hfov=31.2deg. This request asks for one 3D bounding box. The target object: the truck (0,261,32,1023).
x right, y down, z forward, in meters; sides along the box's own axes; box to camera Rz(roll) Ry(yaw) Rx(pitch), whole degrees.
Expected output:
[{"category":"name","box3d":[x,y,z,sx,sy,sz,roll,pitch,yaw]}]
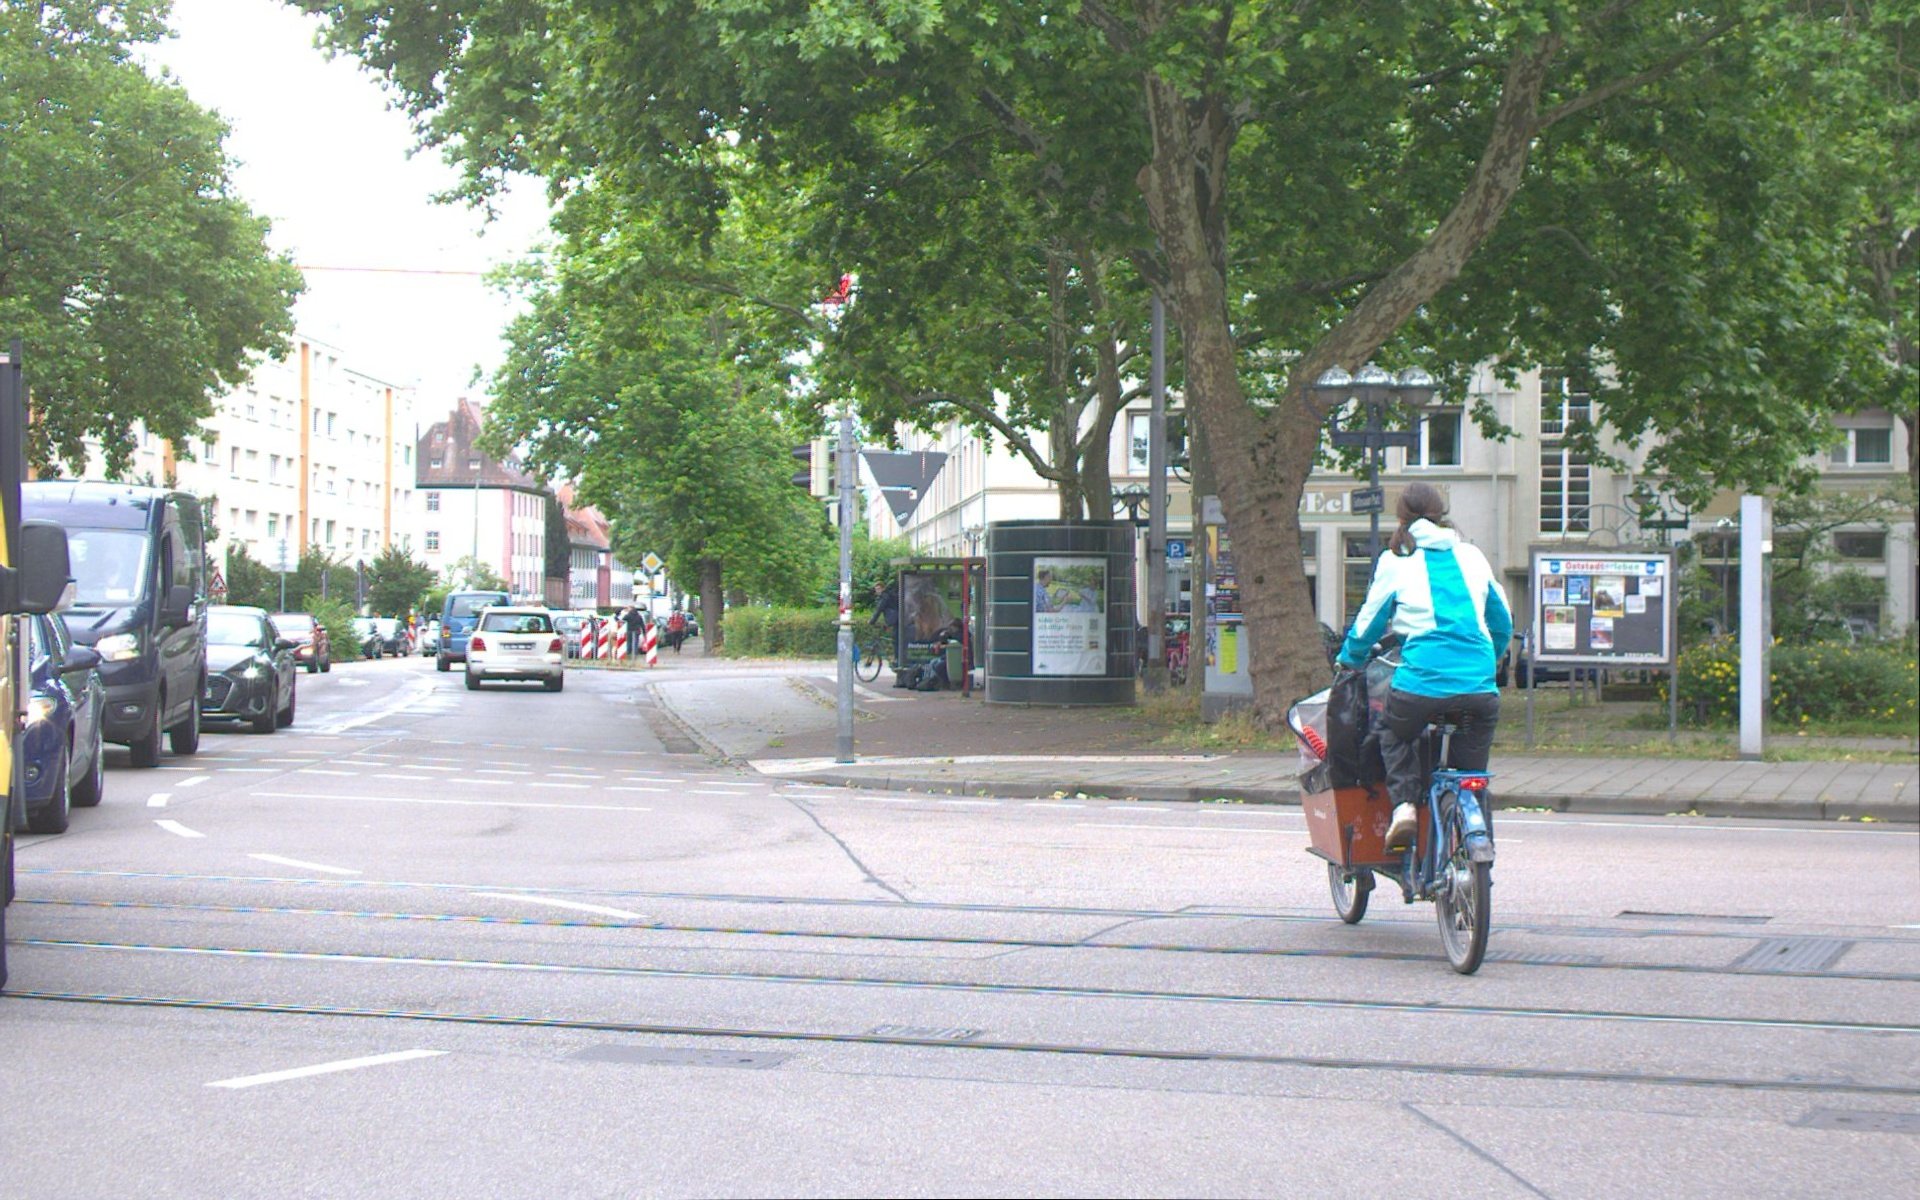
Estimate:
[{"category":"truck","box3d":[-4.680,0.121,13.216,2.074,2.400,5.464,0,0,-14]}]

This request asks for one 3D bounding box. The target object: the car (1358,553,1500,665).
[{"category":"car","box3d":[9.537,0.173,69.683,2.176,2.193,3.996,0,0,18]}]

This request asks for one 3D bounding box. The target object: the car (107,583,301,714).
[{"category":"car","box3d":[-8.692,0.531,39.824,1.808,1.422,4.318,0,0,-7]}]

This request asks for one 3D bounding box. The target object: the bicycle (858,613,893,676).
[{"category":"bicycle","box3d":[-1.688,0.878,68.706,0.417,1.238,1.927,0,0,-10]}]

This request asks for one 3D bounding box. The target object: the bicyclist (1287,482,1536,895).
[{"category":"bicyclist","box3d":[1.711,0.323,13.162,0.685,1.512,1.058,0,0,-8]}]

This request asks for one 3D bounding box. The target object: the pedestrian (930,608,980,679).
[{"category":"pedestrian","box3d":[-0.101,0.811,64.014,0.853,1.310,0.763,0,0,-6]}]

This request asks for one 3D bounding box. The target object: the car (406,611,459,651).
[{"category":"car","box3d":[-20.062,1.164,130.840,1.767,1.481,4.001,0,0,-6]}]

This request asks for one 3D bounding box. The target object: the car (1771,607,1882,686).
[{"category":"car","box3d":[17.192,0.901,68.147,1.798,1.511,3.823,0,0,19]}]

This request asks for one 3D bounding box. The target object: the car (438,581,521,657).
[{"category":"car","box3d":[-12.000,0.450,85.827,1.993,1.842,4.001,0,0,-8]}]

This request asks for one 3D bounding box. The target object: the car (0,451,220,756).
[{"category":"car","box3d":[-7.839,0.026,30.377,2.133,2.442,5.580,0,0,-8]}]

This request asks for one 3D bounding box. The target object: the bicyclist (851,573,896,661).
[{"category":"bicyclist","box3d":[-1.729,0.344,68.691,0.760,1.753,0.820,0,0,-10]}]

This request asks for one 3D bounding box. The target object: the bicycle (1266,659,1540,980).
[{"category":"bicycle","box3d":[1.674,0.797,13.298,0.493,1.094,2.139,0,0,-8]}]

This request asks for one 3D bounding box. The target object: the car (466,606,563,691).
[{"category":"car","box3d":[-8.729,0.927,67.550,1.815,1.586,4.001,0,0,-6]}]

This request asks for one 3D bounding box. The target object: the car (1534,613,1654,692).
[{"category":"car","box3d":[12.735,1.029,68.960,1.798,1.538,3.823,0,0,19]}]

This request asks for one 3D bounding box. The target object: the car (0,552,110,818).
[{"category":"car","box3d":[-6.170,0.466,20.997,1.666,1.484,3.905,0,0,-11]}]

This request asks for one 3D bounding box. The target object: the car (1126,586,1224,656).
[{"category":"car","box3d":[4.507,0.431,71.602,1.515,1.423,3.998,0,0,11]}]

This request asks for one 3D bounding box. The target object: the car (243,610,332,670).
[{"category":"car","box3d":[-16.969,0.995,86.880,1.853,1.448,4.168,1,0,-6]}]

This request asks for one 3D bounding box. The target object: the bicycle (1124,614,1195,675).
[{"category":"bicycle","box3d":[3.889,0.858,66.765,0.779,1.164,2.330,0,0,19]}]

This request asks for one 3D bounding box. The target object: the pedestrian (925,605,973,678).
[{"category":"pedestrian","box3d":[-0.203,0.772,64.877,0.817,1.367,0.763,0,0,-6]}]
